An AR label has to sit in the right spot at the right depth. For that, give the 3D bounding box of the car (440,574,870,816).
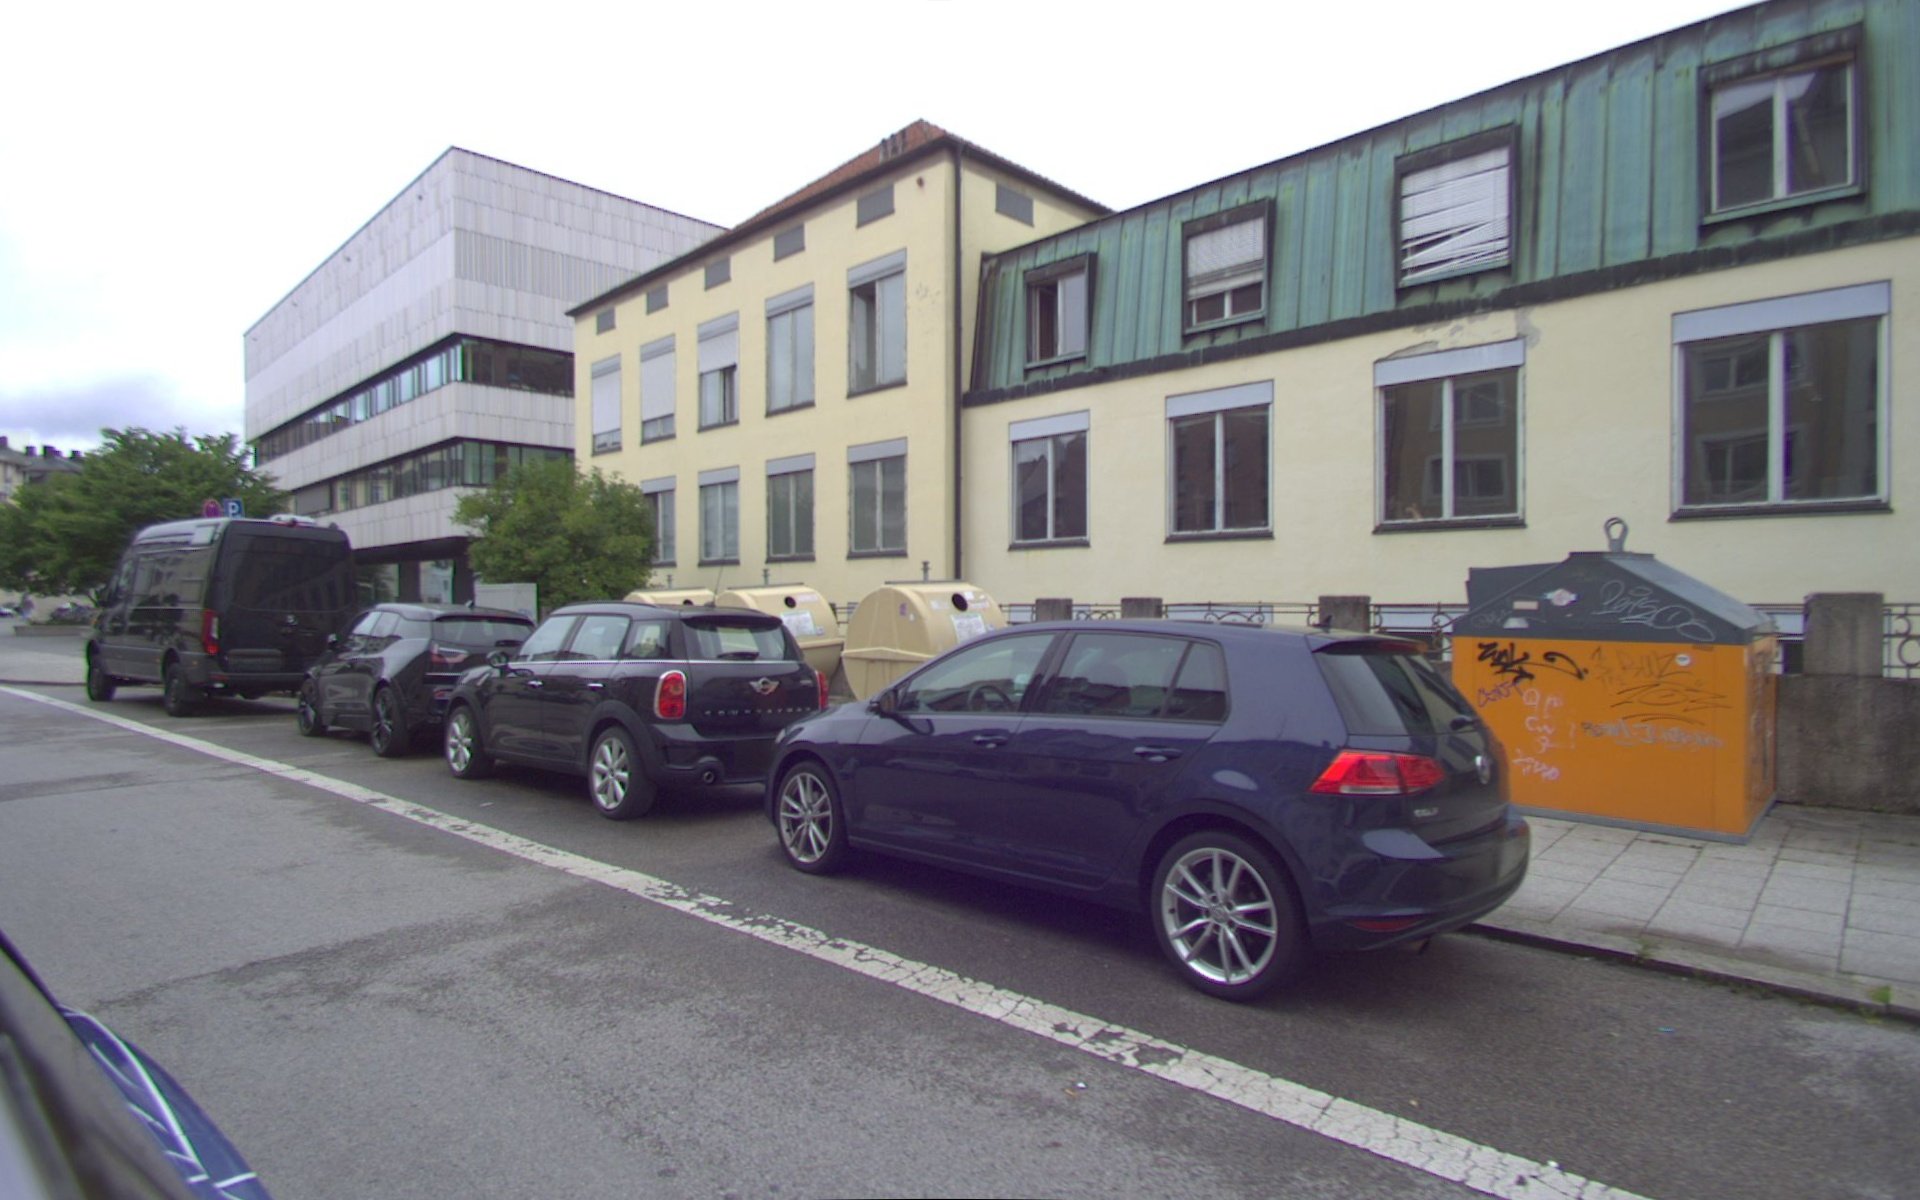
[{"bbox_3d":[-2.709,0.660,8.525,3.867,1.574,1.677,0,-3,42],"label":"car"}]

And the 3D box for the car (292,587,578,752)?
[{"bbox_3d":[-6.093,0.702,11.568,3.838,1.574,1.620,0,-3,42],"label":"car"}]

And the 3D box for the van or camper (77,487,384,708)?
[{"bbox_3d":[-11.236,0.024,15.434,5.563,2.829,2.116,0,-3,37],"label":"van or camper"}]

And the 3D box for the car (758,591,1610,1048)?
[{"bbox_3d":[0.801,0.728,5.190,1.675,1.415,4.003,4,-3,-44],"label":"car"}]
